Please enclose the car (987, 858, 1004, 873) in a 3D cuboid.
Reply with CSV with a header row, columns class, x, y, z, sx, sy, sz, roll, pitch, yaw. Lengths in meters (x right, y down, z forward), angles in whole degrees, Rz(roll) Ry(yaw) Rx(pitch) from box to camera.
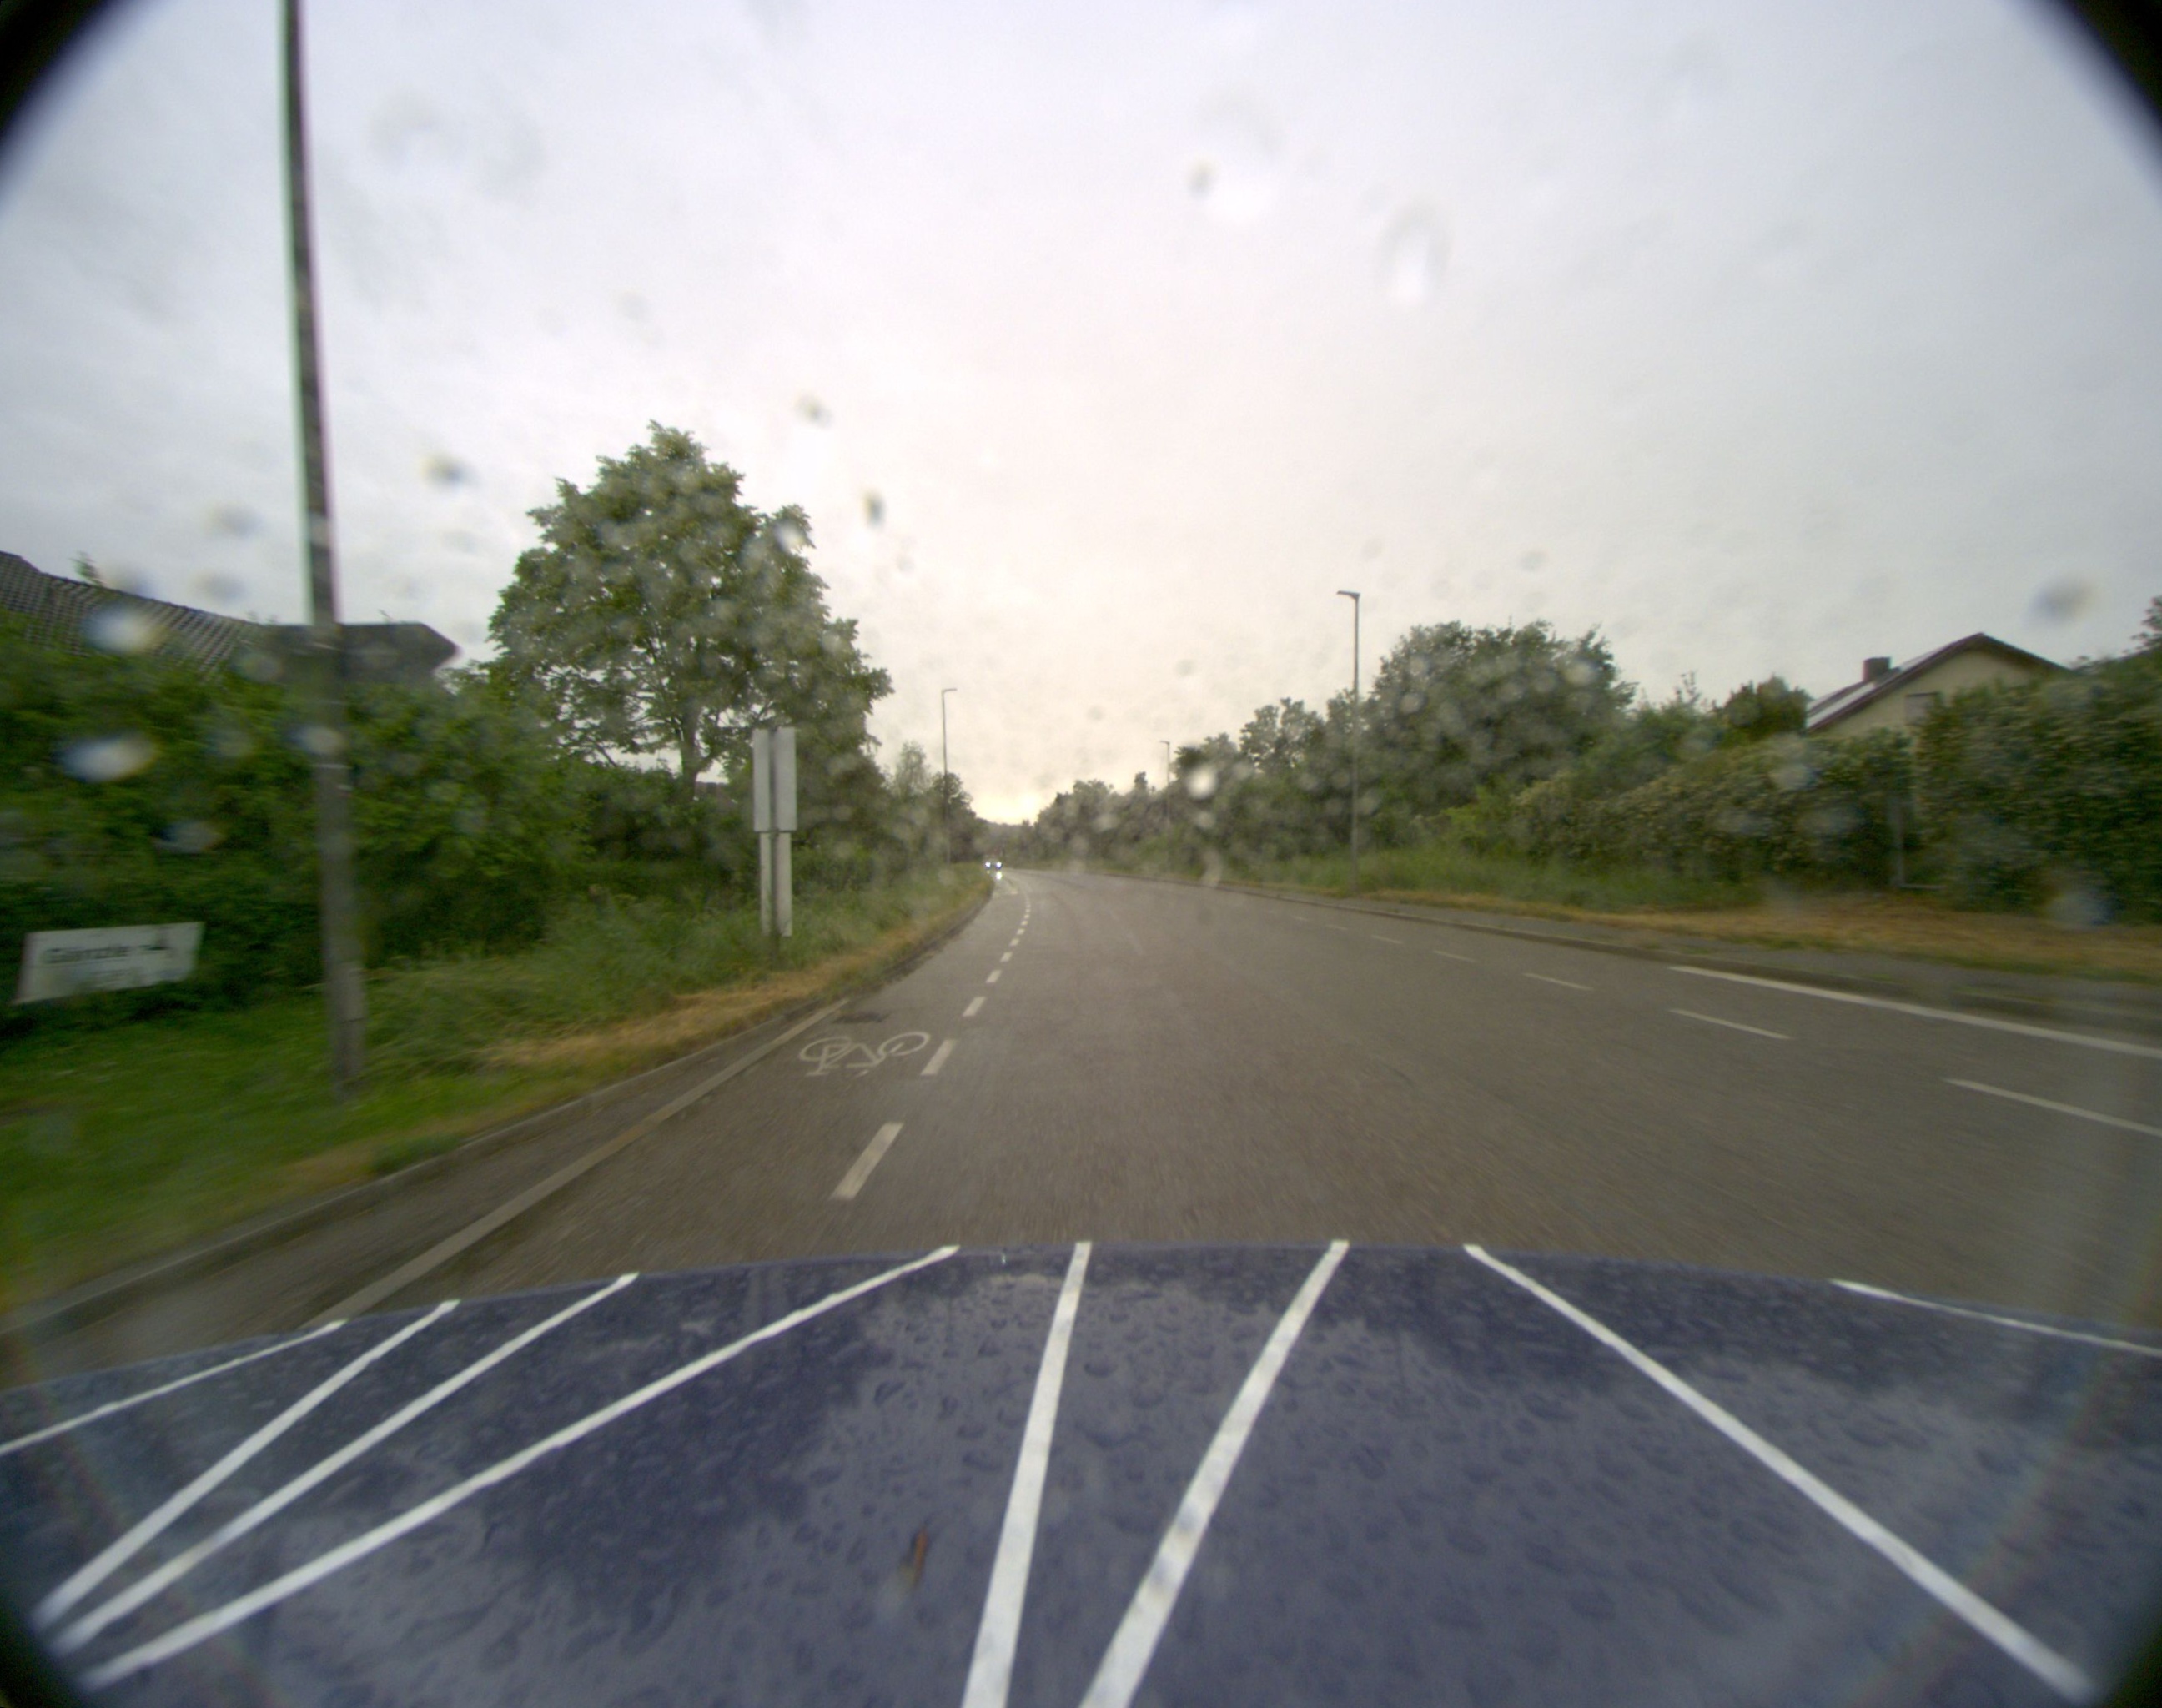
class,x,y,z,sx,sy,sz,roll,pitch,yaw
car,-11.085,1.445,98.222,2.000,1.831,3.997,-1,0,-8
